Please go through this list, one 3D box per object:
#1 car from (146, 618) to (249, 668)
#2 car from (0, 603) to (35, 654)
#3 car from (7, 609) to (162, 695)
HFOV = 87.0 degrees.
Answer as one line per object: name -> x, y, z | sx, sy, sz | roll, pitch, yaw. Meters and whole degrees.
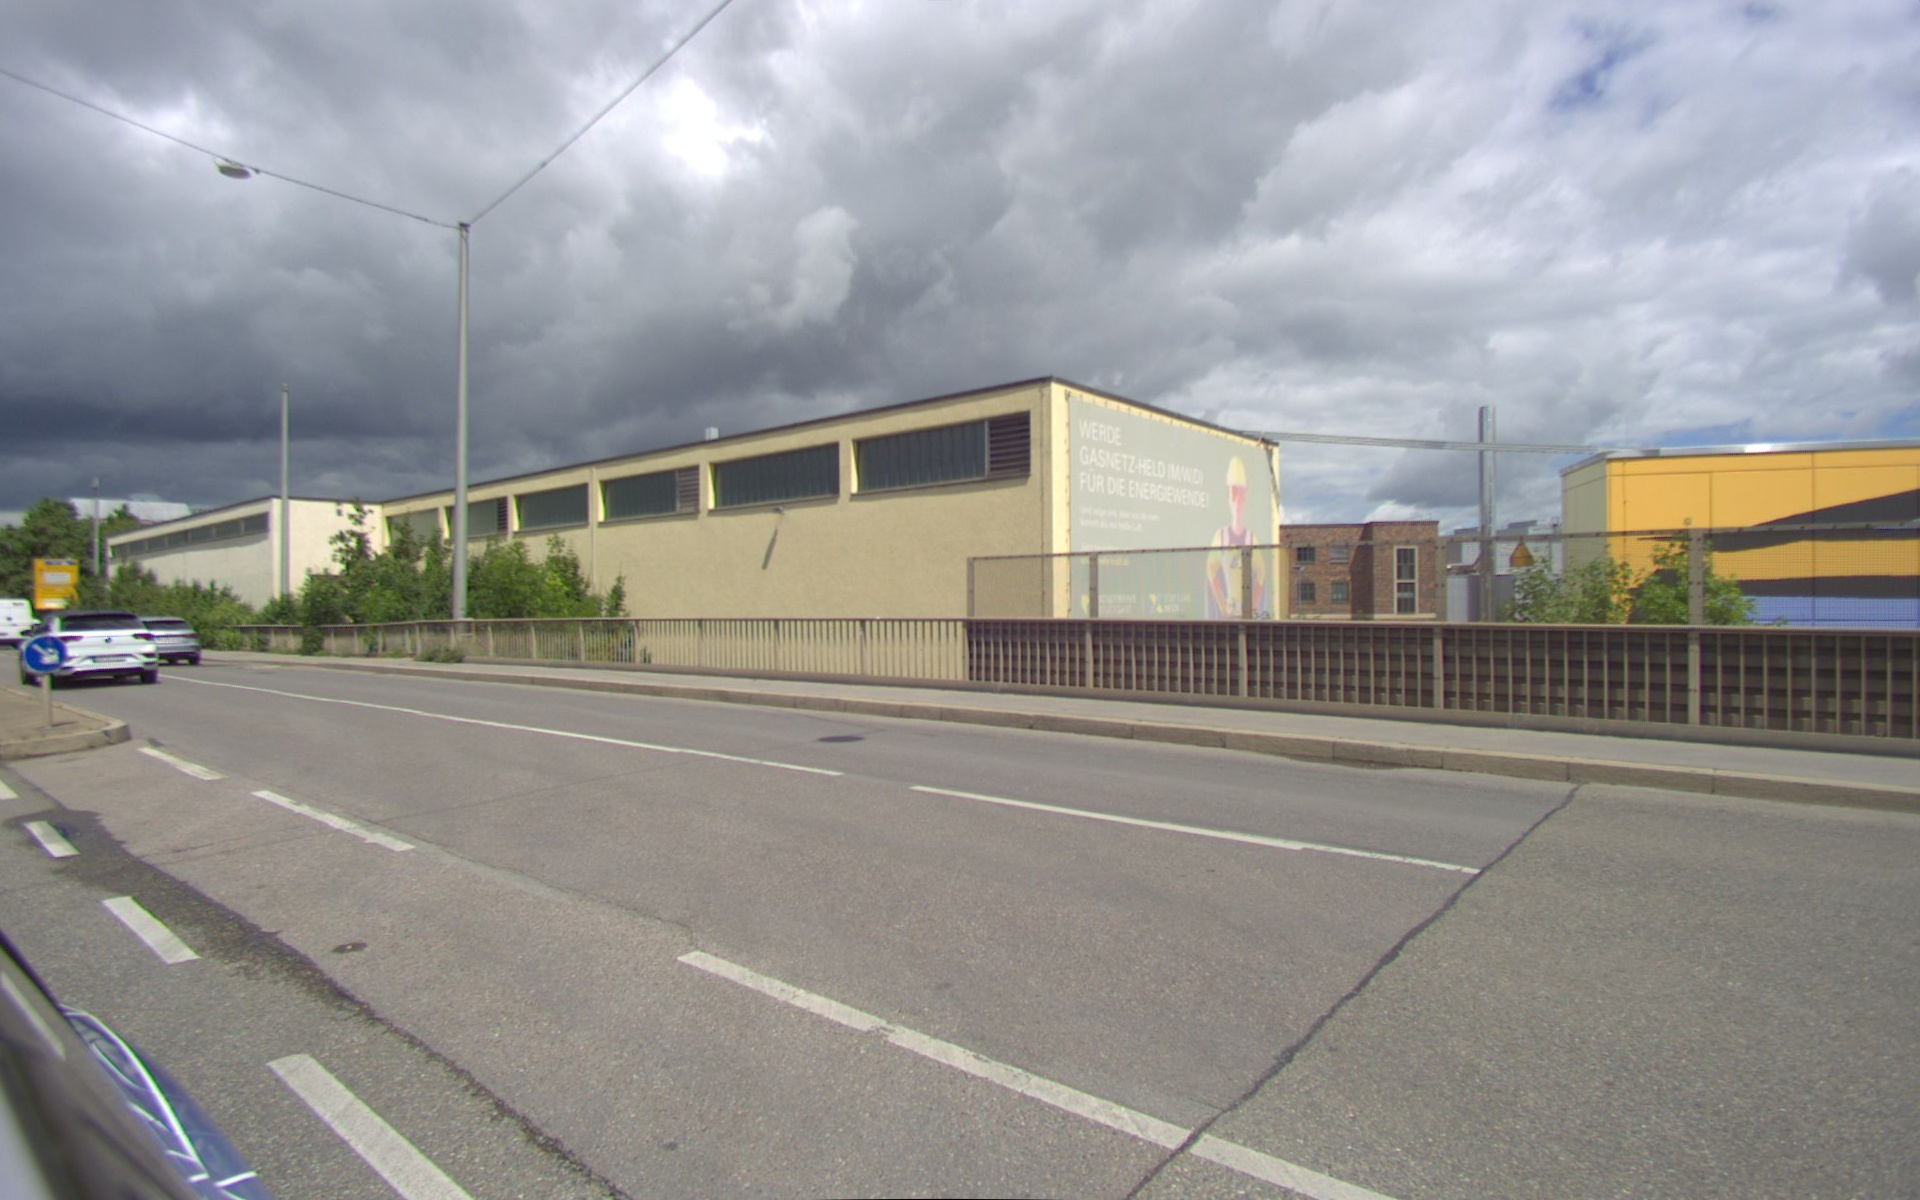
car -> -22.883, 1.267, 30.320 | 4.192, 1.374, 1.620 | -2, -1, 41
car -> -50.795, 1.509, 53.428 | 6.817, 2.591, 2.045 | -2, -2, 41
car -> -18.225, 1.014, 21.009 | 4.204, 1.572, 1.792 | -1, 0, 40
